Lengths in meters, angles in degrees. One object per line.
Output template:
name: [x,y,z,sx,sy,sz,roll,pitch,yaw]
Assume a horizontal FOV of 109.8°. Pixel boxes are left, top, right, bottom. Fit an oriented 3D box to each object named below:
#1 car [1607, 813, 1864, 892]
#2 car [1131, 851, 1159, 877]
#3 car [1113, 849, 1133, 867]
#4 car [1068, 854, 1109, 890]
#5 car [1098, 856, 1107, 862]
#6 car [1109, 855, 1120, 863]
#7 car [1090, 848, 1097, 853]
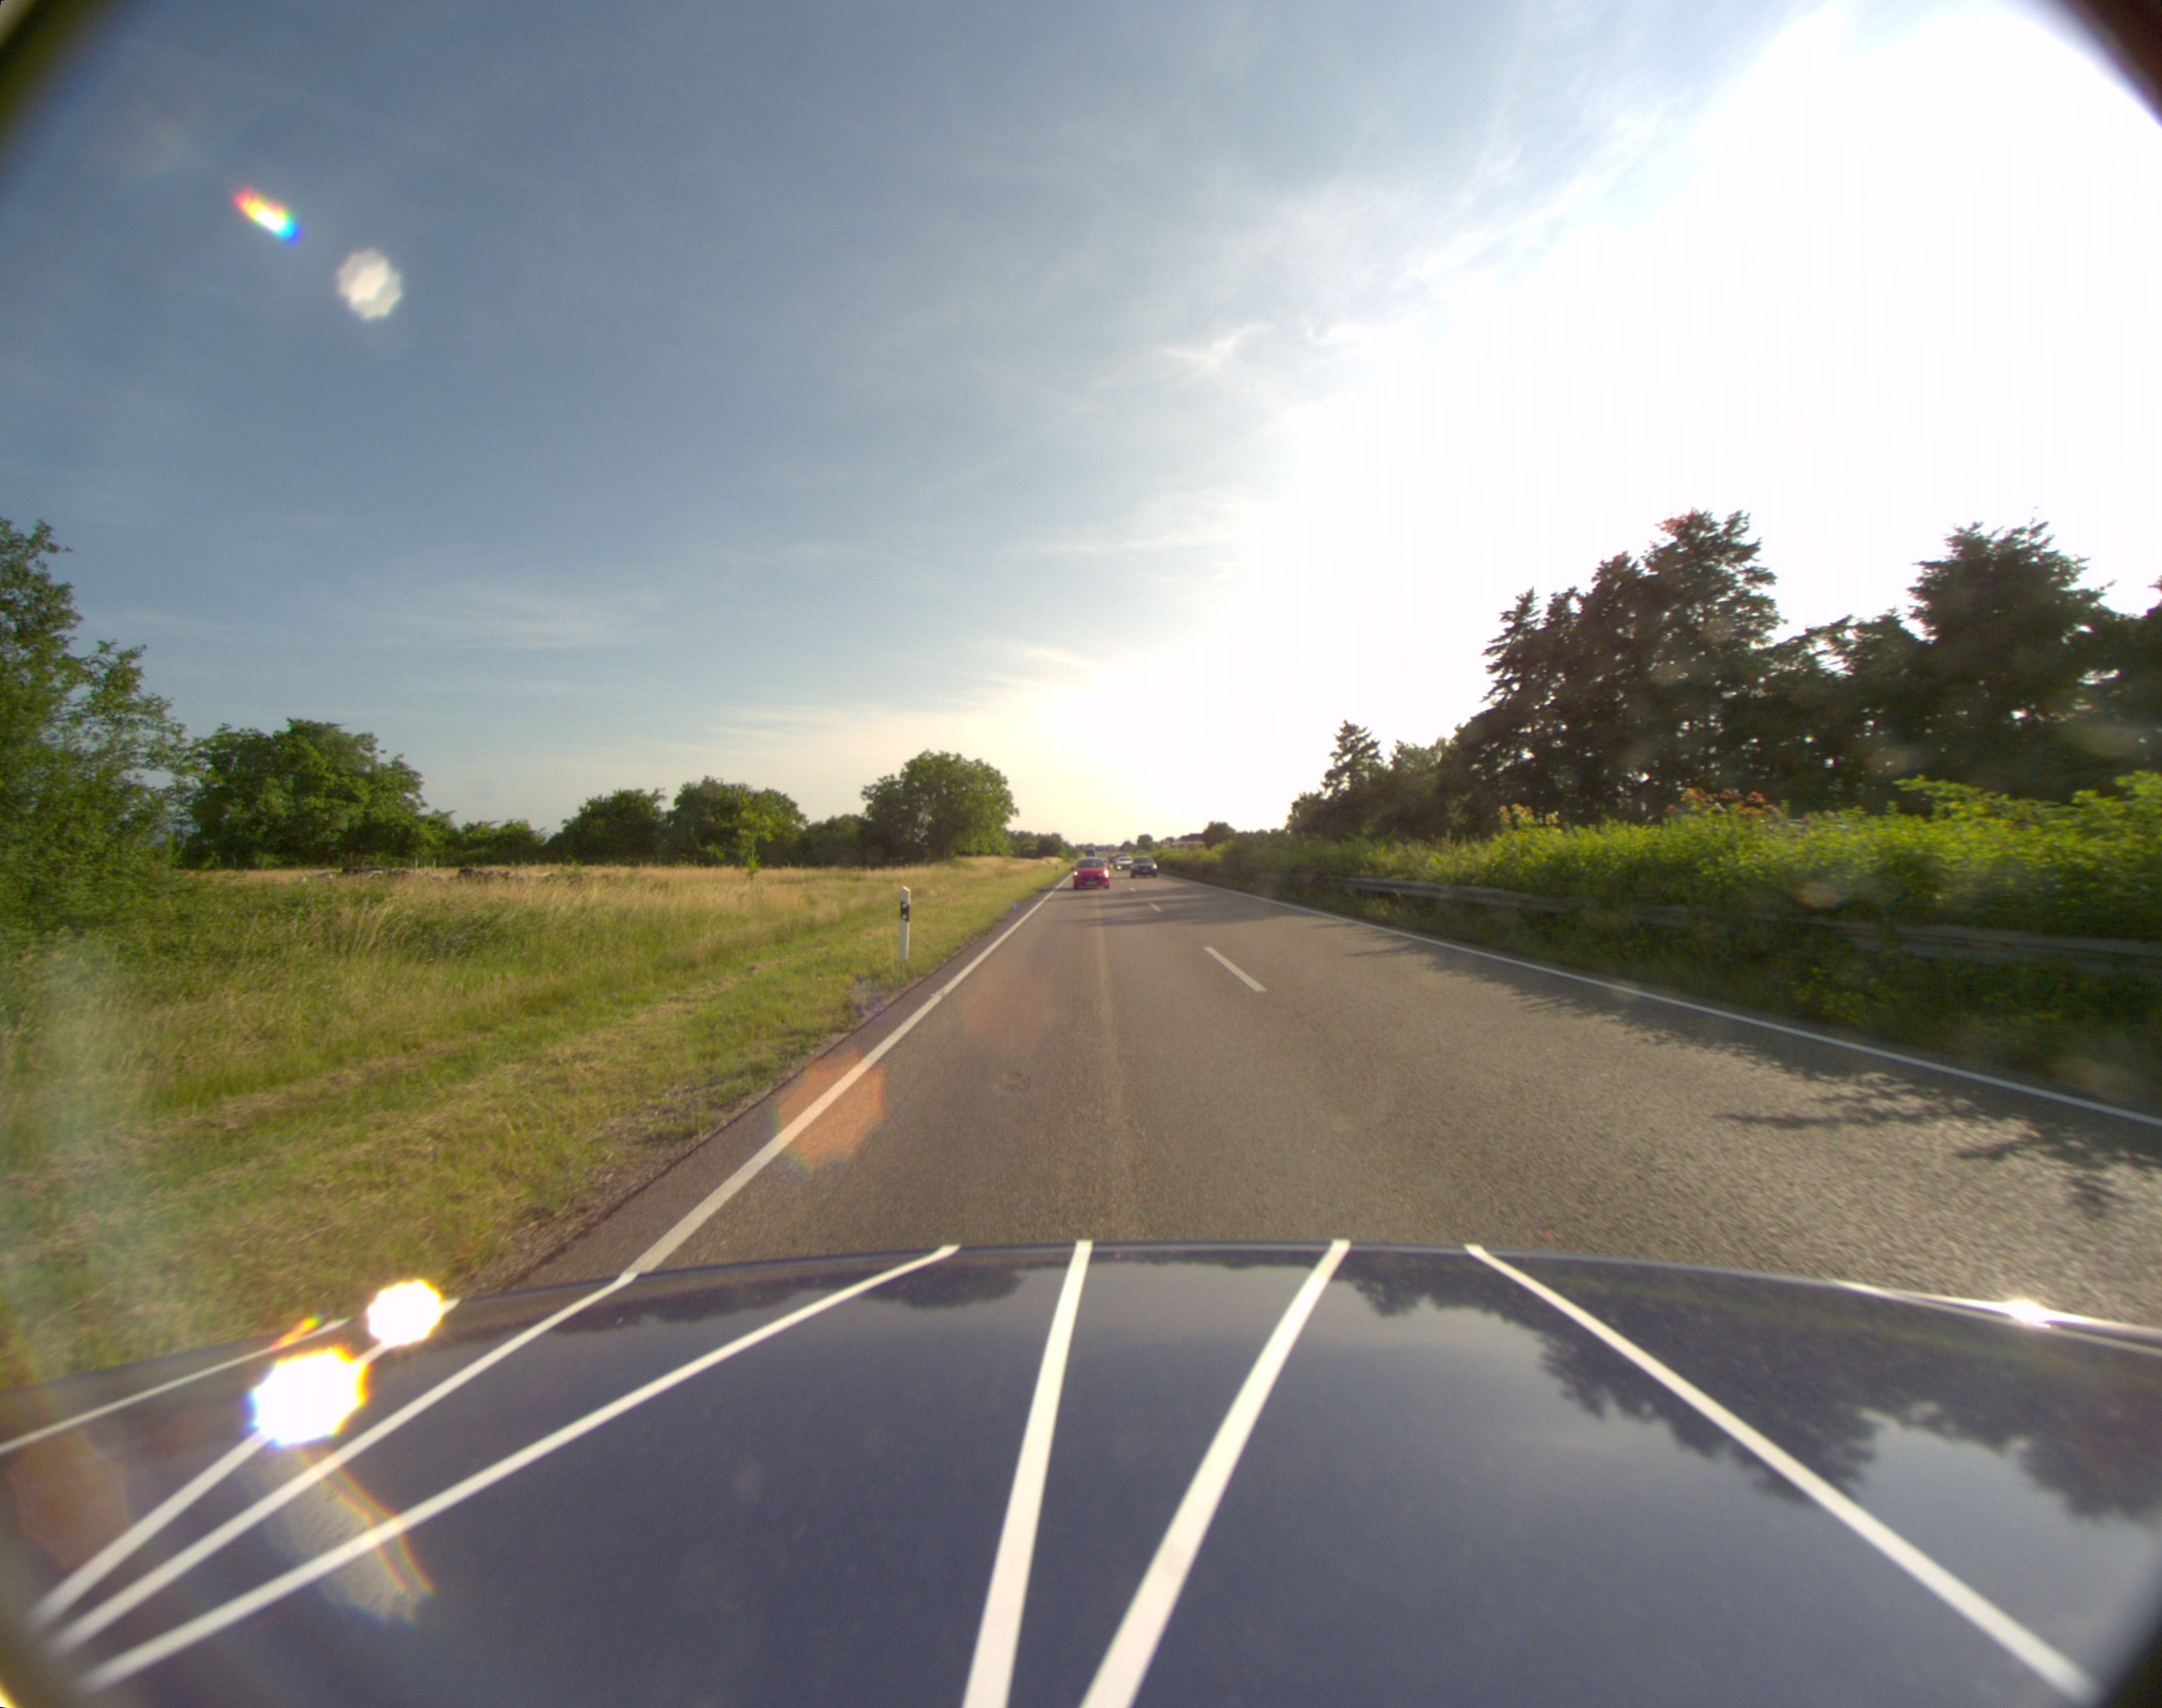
car: [13.728,-0.039,16.354,1.737,1.414,4.396,-2,0,0]
car: [4.410,0.673,52.696,1.693,1.695,4.000,-2,0,2]
car: [4.384,0.425,79.700,1.998,1.762,4.000,-2,0,2]
car: [0.426,0.843,37.004,1.821,1.565,4.000,-2,0,2]
car: [4.966,1.183,175.758,1.998,1.412,4.000,-2,0,2]
car: [6.342,0.861,145.693,1.998,1.412,4.000,-2,0,2]
car: [3.462,-0.980,212.771,1.998,1.412,4.000,-2,0,2]
